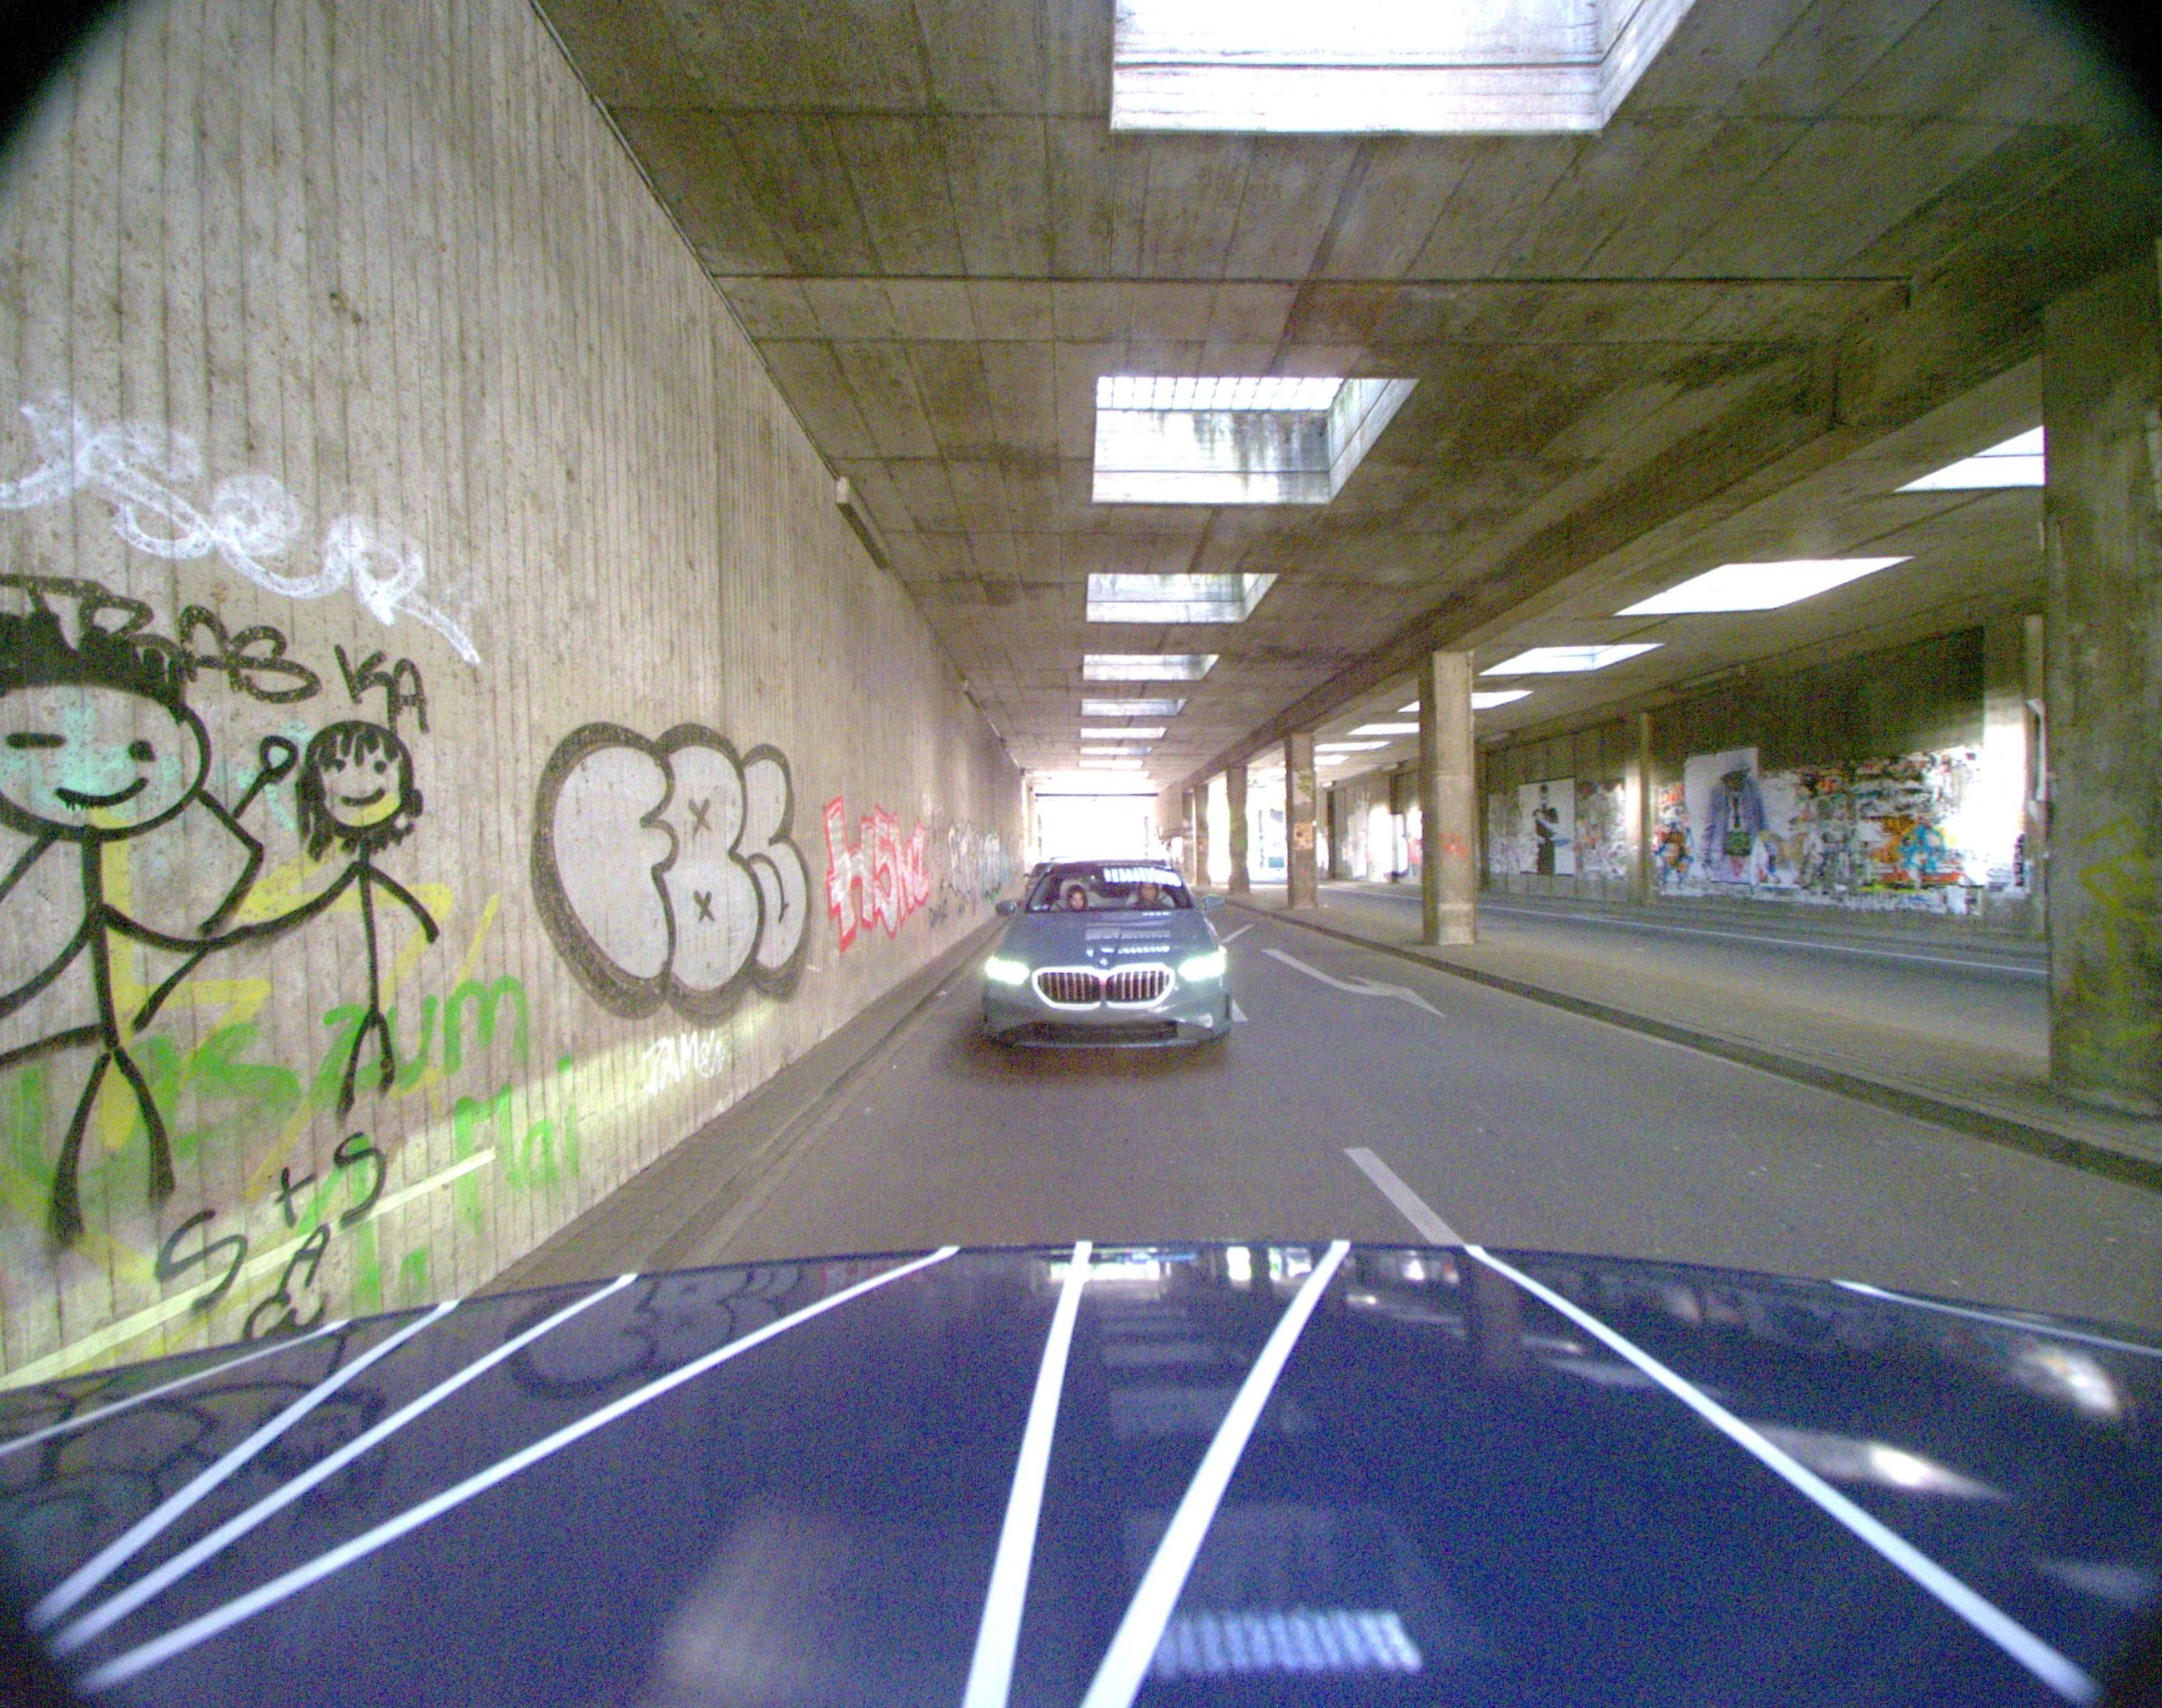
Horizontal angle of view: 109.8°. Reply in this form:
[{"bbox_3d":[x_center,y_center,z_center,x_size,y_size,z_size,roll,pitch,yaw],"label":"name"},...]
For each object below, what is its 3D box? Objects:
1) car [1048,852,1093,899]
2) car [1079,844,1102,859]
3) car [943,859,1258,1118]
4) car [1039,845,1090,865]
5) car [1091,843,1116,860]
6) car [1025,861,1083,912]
[{"bbox_3d":[-0.360,0.772,29.901,1.581,1.676,4.078,-2,0,1],"label":"car"},{"bbox_3d":[1.214,-0.337,103.545,2.361,2.002,5.146,-1,0,-8],"label":"car"},{"bbox_3d":[0.200,0.887,7.473,1.998,1.594,5.176,-1,0,2],"label":"car"},{"bbox_3d":[-1.732,0.068,79.187,5.147,2.002,2.360,-1,0,-2],"label":"car"},{"bbox_3d":[2.868,-0.331,97.532,2.361,2.002,5.146,-1,0,-8],"label":"car"},{"bbox_3d":[-0.783,0.953,23.894,1.593,1.387,3.833,-2,0,1],"label":"car"}]
